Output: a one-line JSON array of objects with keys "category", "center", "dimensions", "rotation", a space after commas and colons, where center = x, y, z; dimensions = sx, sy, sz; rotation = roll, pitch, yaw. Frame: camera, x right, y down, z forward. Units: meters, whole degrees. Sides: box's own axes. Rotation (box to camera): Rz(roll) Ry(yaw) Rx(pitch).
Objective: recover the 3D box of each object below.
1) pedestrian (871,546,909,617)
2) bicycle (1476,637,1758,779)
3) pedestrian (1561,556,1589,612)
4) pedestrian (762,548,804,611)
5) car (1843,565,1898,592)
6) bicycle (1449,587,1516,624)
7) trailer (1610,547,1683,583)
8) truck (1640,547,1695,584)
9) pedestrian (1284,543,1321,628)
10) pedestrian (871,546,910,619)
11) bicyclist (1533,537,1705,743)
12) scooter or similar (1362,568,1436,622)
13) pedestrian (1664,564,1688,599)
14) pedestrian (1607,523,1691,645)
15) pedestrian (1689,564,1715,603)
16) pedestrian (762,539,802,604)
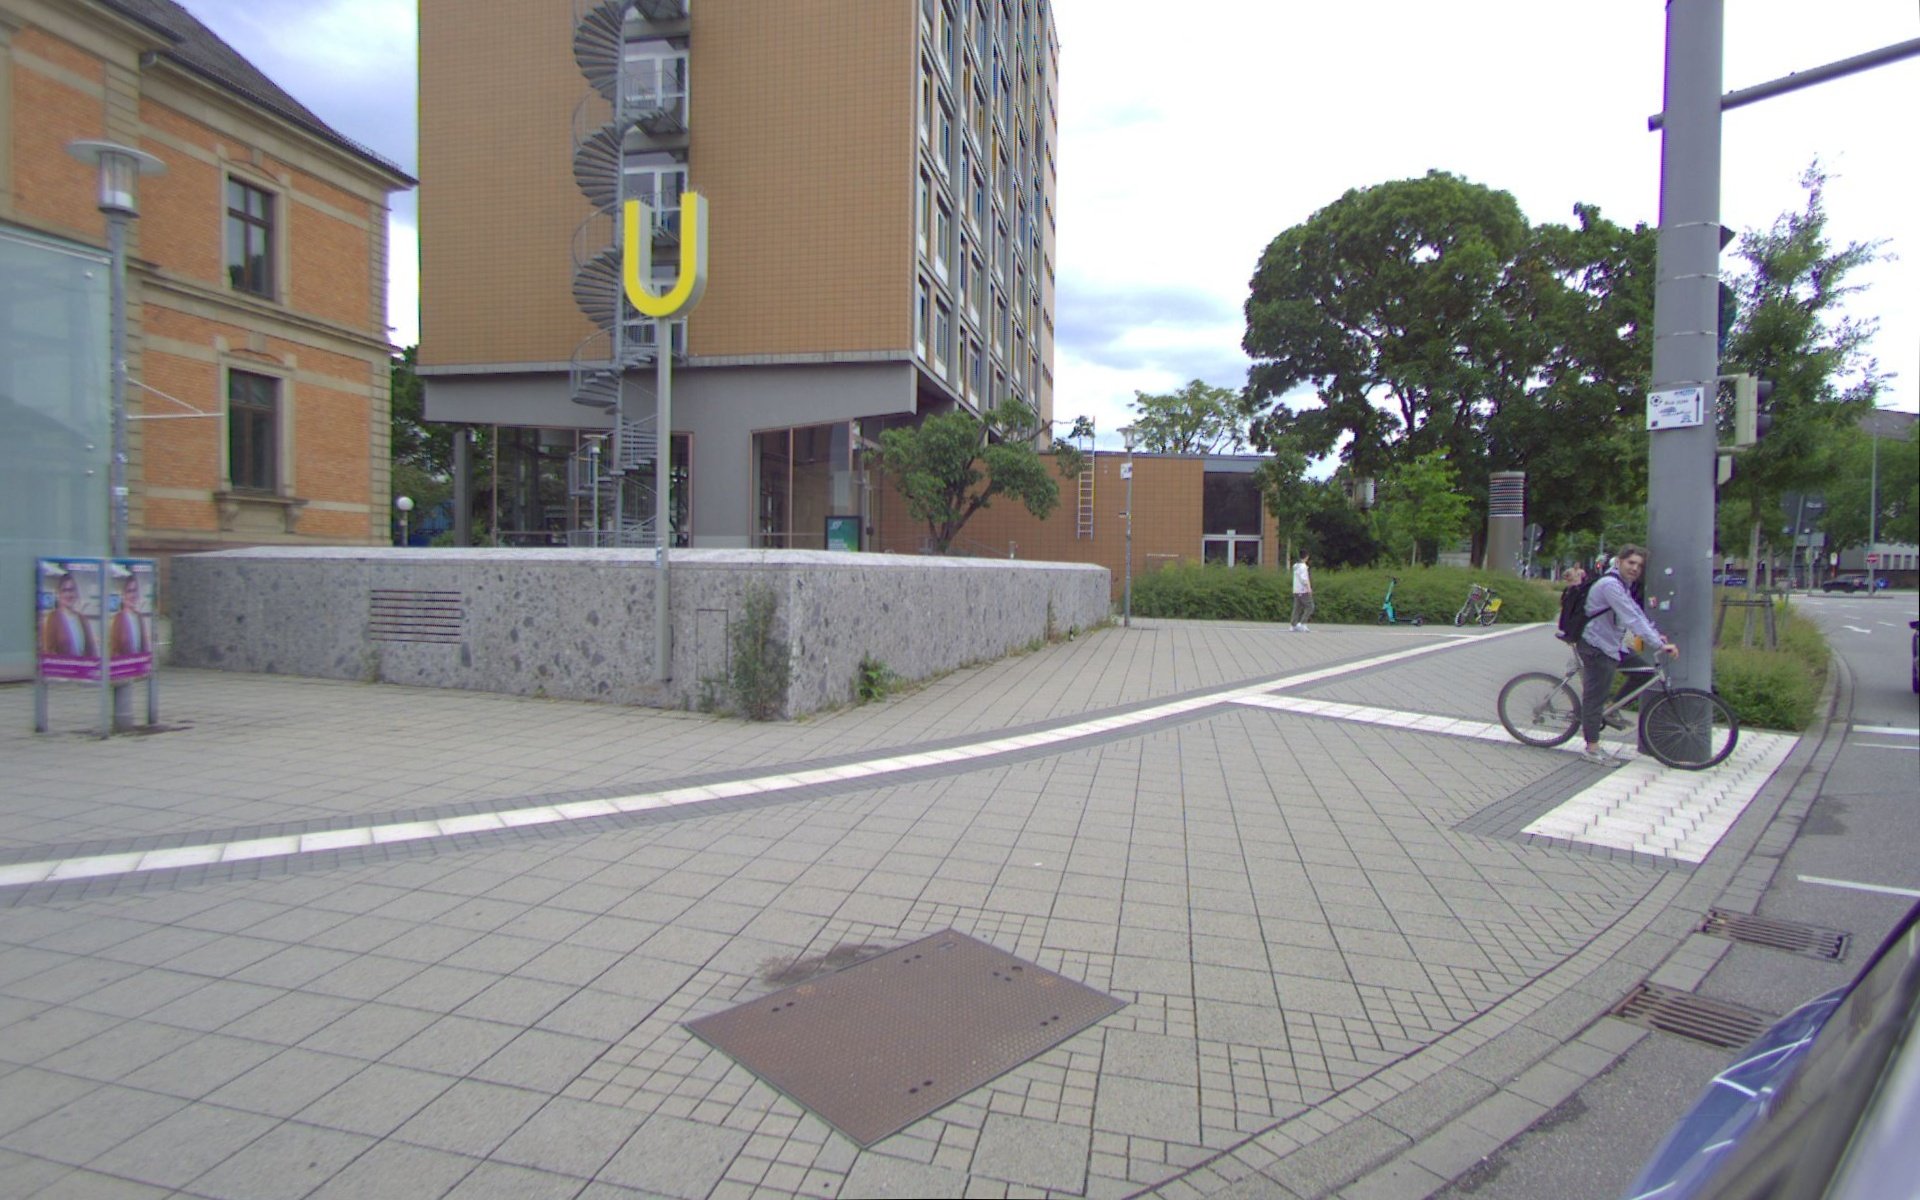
[{"category": "pedestrian", "center": [-1.765, -0.480, 25.576], "dimensions": [0.858, 1.764, 0.724], "rotation": [1, 1, 3]}, {"category": "bicycle", "center": [5.294, 0.816, 8.226], "dimensions": [1.817, 0.850, 0.757], "rotation": [4, 4, 38]}, {"category": "pedestrian", "center": [20.571, -0.536, 33.861], "dimensions": [0.628, 1.822, 0.589], "rotation": [5, 4, 38]}, {"category": "pedestrian", "center": [-4.706, -0.545, 26.876], "dimensions": [0.863, 1.651, 0.720], "rotation": [1, 1, 19]}, {"category": "car", "center": [70.176, -1.668, 78.070], "dimensions": [1.977, 2.039, 3.956], "rotation": [0, 1, 23]}, {"category": "bicycle", "center": [13.065, 0.126, 25.287], "dimensions": [2.033, 0.859, 0.558], "rotation": [-1, 2, -33]}, {"category": "trailer", "center": [82.425, -4.093, 121.819], "dimensions": [2.905, 4.063, 13.747], "rotation": [0, 1, 15]}, {"category": "truck", "center": [80.855, -3.948, 115.813], "dimensions": [2.872, 4.075, 7.128], "rotation": [0, 1, 15]}, {"category": "pedestrian", "center": [7.495, -0.331, 22.157], "dimensions": [0.695, 1.827, 0.833], "rotation": [1, 1, 22]}, {"category": "pedestrian", "center": [-1.679, -0.428, 24.691], "dimensions": [0.858, 1.752, 0.724], "rotation": [1, 1, 3]}, {"category": "bicyclist", "center": [5.325, 0.277, 8.186], "dimensions": [1.095, 1.539, 0.750], "rotation": [2, 2, 38]}, {"category": "scooter or similar", "center": [10.924, -0.123, 25.221], "dimensions": [1.579, 1.306, 0.693], "rotation": [0, 1, 11]}, {"category": "pedestrian", "center": [37.815, -0.987, 53.444], "dimensions": [0.707, 1.822, 0.598], "rotation": [3, 3, -5]}, {"category": "pedestrian", "center": [11.290, -0.274, 16.611], "dimensions": [0.859, 1.952, 0.723], "rotation": [1, 1, 8]}, {"category": "pedestrian", "center": [36.321, -0.815, 49.545], "dimensions": [0.707, 1.822, 0.598], "rotation": [3, 3, -5]}, {"category": "pedestrian", "center": [-4.888, -0.782, 27.834], "dimensions": [0.863, 1.758, 0.720], "rotation": [1, 1, 19]}]
